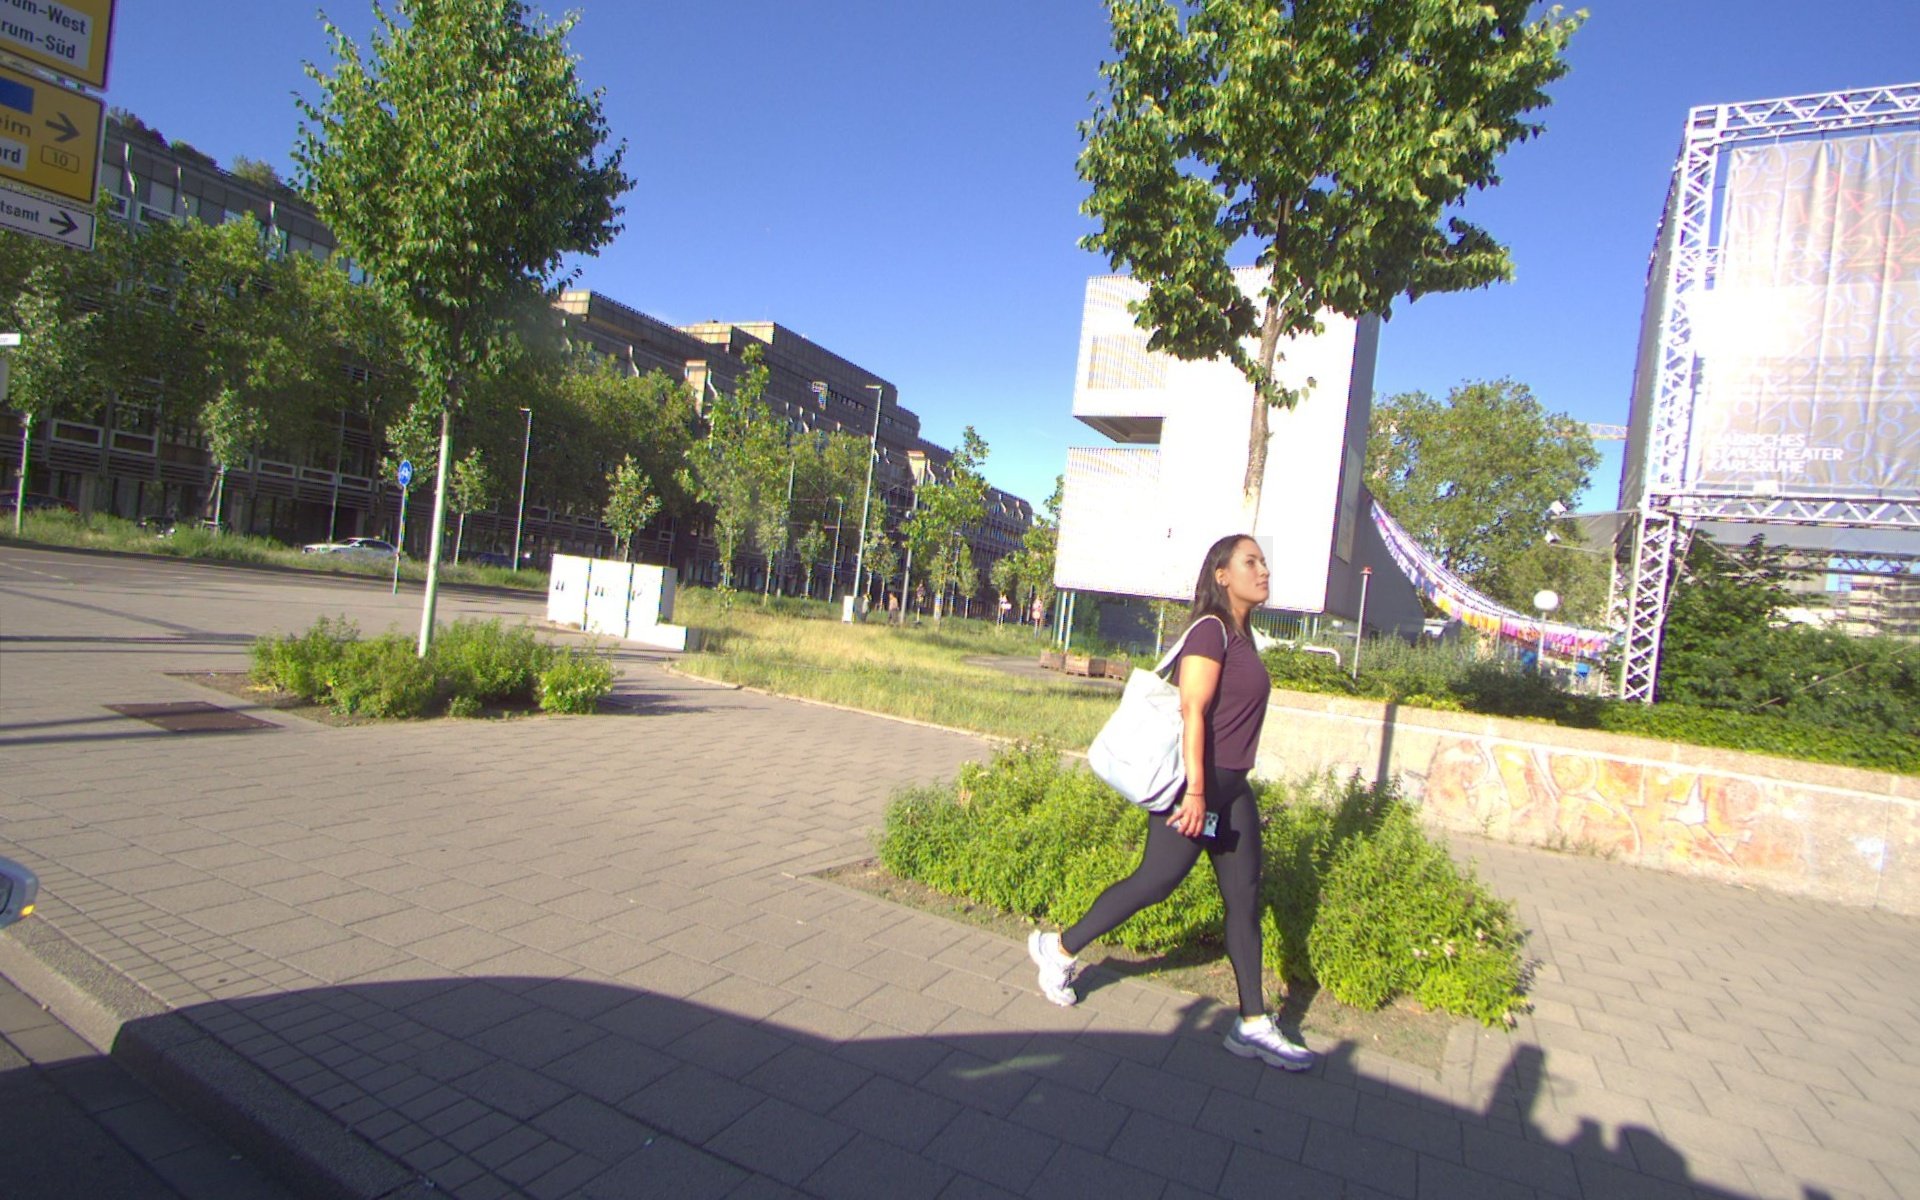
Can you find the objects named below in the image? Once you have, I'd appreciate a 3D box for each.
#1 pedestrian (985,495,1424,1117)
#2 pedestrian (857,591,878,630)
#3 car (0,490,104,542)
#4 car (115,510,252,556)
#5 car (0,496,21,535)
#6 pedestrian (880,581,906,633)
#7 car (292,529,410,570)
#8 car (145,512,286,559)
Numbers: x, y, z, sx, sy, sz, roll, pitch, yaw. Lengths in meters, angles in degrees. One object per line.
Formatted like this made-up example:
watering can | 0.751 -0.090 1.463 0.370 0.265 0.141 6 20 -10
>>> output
pedestrian | 0.809 0.588 3.496 0.817 1.770 1.031 5 1 -38
pedestrian | -3.993 0.455 43.520 0.513 1.591 0.620 7 1 23
car | -33.328 -3.103 35.223 1.965 1.373 4.641 8 0 27
car | -36.403 -3.106 47.286 1.965 1.373 4.641 8 0 27
car | -37.774 -3.428 36.729 1.965 1.373 4.641 8 0 27
pedestrian | -2.765 0.304 41.549 0.669 2.039 0.620 7 1 23
car | -30.577 -2.505 50.677 1.965 1.373 4.641 8 0 27
car | -33.450 -2.861 45.337 1.965 1.373 4.641 8 0 27
